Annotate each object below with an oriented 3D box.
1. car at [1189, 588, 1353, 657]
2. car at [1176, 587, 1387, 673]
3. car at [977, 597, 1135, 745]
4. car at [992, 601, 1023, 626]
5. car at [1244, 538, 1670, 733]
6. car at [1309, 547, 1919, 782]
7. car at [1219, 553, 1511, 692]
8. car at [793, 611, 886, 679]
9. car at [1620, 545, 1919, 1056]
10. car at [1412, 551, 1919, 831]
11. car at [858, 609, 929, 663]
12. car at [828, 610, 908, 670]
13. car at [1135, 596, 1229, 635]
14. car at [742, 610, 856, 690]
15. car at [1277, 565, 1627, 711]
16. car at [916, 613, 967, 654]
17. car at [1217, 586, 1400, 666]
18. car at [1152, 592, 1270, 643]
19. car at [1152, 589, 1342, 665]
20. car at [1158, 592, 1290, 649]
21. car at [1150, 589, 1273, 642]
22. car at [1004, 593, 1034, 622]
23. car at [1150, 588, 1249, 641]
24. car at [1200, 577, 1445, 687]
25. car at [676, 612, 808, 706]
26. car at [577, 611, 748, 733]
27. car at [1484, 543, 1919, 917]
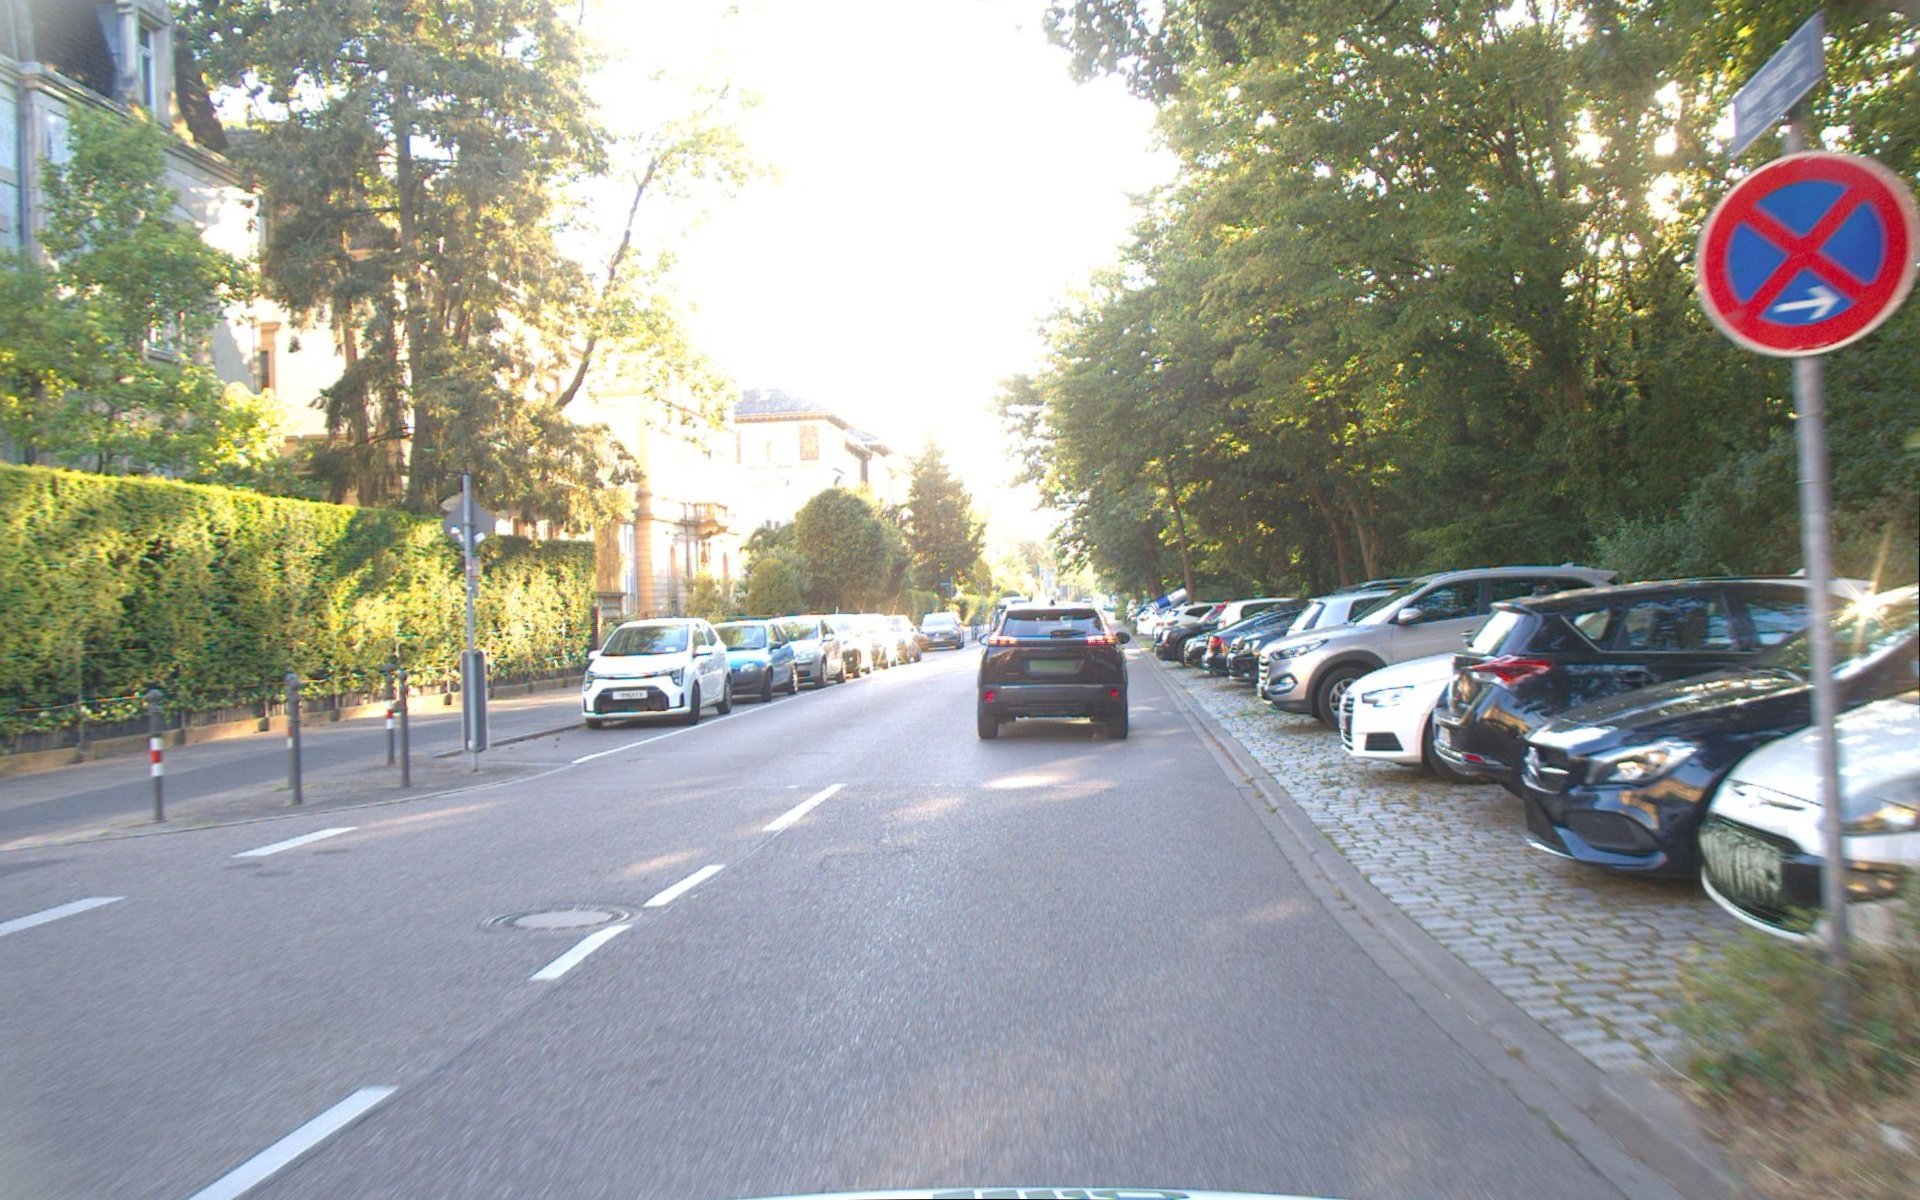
[{"bbox_3d":[7.817,0.560,41.797,3.730,1.474,1.877,-4,0,1],"label":"car"},{"bbox_3d":[6.551,0.602,34.016,4.069,1.474,1.732,-4,0,8],"label":"car"},{"bbox_3d":[1.090,0.772,20.251,1.735,1.596,4.109,0,0,1],"label":"car"},{"bbox_3d":[3.269,0.915,112.551,1.859,1.601,4.002,-2,0,4],"label":"car"},{"bbox_3d":[5.521,0.394,18.860,4.217,1.835,2.036,-4,0,4],"label":"car"},{"bbox_3d":[5.295,0.518,13.576,4.393,1.582,1.856,-3,-2,-1],"label":"car"},{"bbox_3d":[6.339,0.350,26.299,4.156,1.820,1.885,-4,-1,5],"label":"car"},{"bbox_3d":[-2.905,1.064,40.639,1.579,1.492,4.038,-3,0,5],"label":"car"},{"bbox_3d":[4.692,0.546,5.973,3.903,1.581,1.727,-3,1,5],"label":"car"},{"bbox_3d":[5.214,0.542,11.088,3.903,1.581,1.753,-3,1,5],"label":"car"},{"bbox_3d":[-1.995,1.068,50.799,1.579,1.492,4.038,-3,0,5],"label":"car"},{"bbox_3d":[-2.515,1.086,45.970,1.579,1.492,4.038,-3,0,5],"label":"car"},{"bbox_3d":[9.857,0.688,73.543,3.905,1.552,1.758,-2,0,0],"label":"car"},{"bbox_3d":[-3.329,1.003,34.877,1.579,1.492,4.038,-3,0,5],"label":"car"},{"bbox_3d":[6.101,0.465,20.886,3.903,1.581,1.726,-3,0,5],"label":"car"},{"bbox_3d":[-0.722,1.340,66.857,1.716,1.438,3.766,-4,0,3],"label":"car"},{"bbox_3d":[7.579,0.554,36.285,3.727,1.474,1.827,-4,0,8],"label":"car"},{"bbox_3d":[8.880,0.603,58.771,3.905,1.653,1.758,-2,0,0],"label":"car"},{"bbox_3d":[6.716,0.628,39.078,4.155,1.474,2.022,-4,0,3],"label":"car"},{"bbox_3d":[8.150,0.627,51.257,3.730,1.474,1.826,-4,0,1],"label":"car"},{"bbox_3d":[8.560,0.514,56.517,3.905,1.653,1.758,-2,0,0],"label":"car"},{"bbox_3d":[4.393,0.576,122.815,1.951,2.049,4.003,-2,0,6],"label":"car"},{"bbox_3d":[10.218,0.617,70.733,3.905,2.126,1.758,-2,0,0],"label":"car"},{"bbox_3d":[6.270,0.548,28.944,3.904,1.581,1.726,-4,-1,5],"label":"car"},{"bbox_3d":[-3.904,1.028,30.131,1.580,1.511,3.744,-3,0,4],"label":"car"},{"bbox_3d":[-4.310,0.994,24.481,1.580,1.541,3.713,-4,0,3],"label":"car"},{"bbox_3d":[4.807,0.521,8.146,3.903,1.581,1.727,-3,1,5],"label":"car"}]
